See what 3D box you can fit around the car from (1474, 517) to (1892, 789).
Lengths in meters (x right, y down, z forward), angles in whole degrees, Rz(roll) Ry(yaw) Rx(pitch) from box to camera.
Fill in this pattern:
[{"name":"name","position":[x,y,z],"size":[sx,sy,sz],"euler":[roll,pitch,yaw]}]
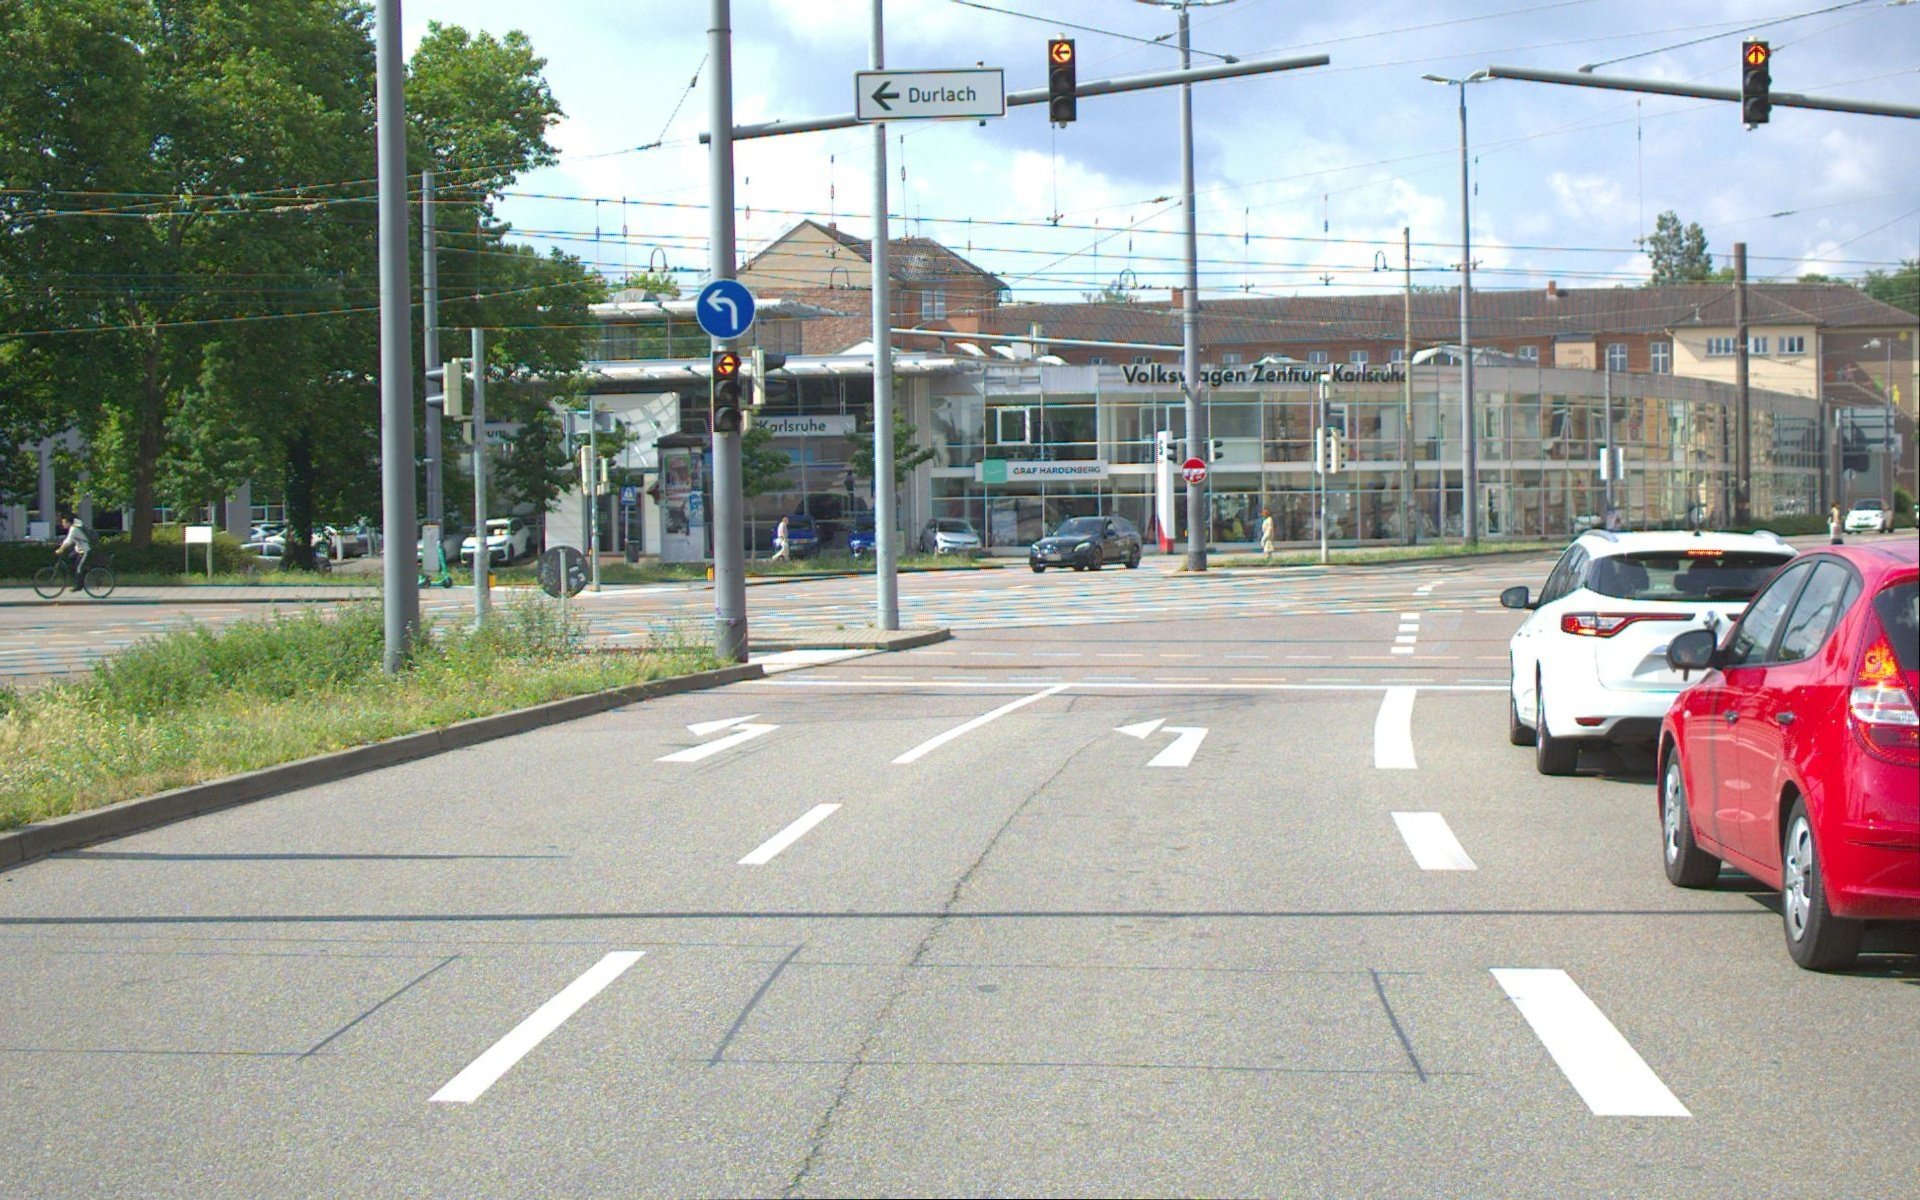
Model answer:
[{"name":"car","position":[4.337,0.246,21.266],"size":[1.848,1.467,4.335],"euler":[-1,1,3]}]

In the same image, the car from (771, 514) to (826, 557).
[{"name":"car","position":[-6.041,-2.425,129.031],"size":[1.993,1.546,4.079],"euler":[-1,1,-2]}]

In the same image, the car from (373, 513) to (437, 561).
[{"name":"car","position":[-21.263,-2.422,131.813],"size":[1.797,1.763,4.000],"euler":[-1,1,-1]}]

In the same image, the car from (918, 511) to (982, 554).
[{"name":"car","position":[-0.381,-2.547,129.679],"size":[1.993,1.590,4.001],"euler":[-1,1,-6]}]

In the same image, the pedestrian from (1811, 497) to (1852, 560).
[{"name":"pedestrian","position":[21.423,-1.768,84.513],"size":[0.673,1.530,0.674],"euler":[-2,2,-34]}]

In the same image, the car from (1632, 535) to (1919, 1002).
[{"name":"car","position":[3.725,0.500,12.818],"size":[1.816,1.434,4.067],"euler":[0,2,3]}]

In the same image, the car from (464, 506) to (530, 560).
[{"name":"car","position":[-17.686,-2.579,131.465],"size":[1.993,2.007,4.000],"euler":[-1,1,-1]}]

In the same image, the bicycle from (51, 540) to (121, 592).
[{"name":"bicycle","position":[-19.440,-0.765,76.456],"size":[1.464,1.113,0.587],"euler":[-1,1,-16]}]

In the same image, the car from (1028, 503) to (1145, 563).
[{"name":"car","position":[3.392,-1.798,91.430],"size":[1.995,1.524,3.996],"euler":[0,2,19]}]

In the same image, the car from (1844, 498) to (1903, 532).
[{"name":"car","position":[40.872,-3.802,153.757],"size":[1.996,1.437,3.996],"euler":[0,2,23]}]

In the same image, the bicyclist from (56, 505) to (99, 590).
[{"name":"bicyclist","position":[-19.610,-1.160,76.392],"size":[0.885,1.864,0.764],"euler":[-1,1,-15]}]
